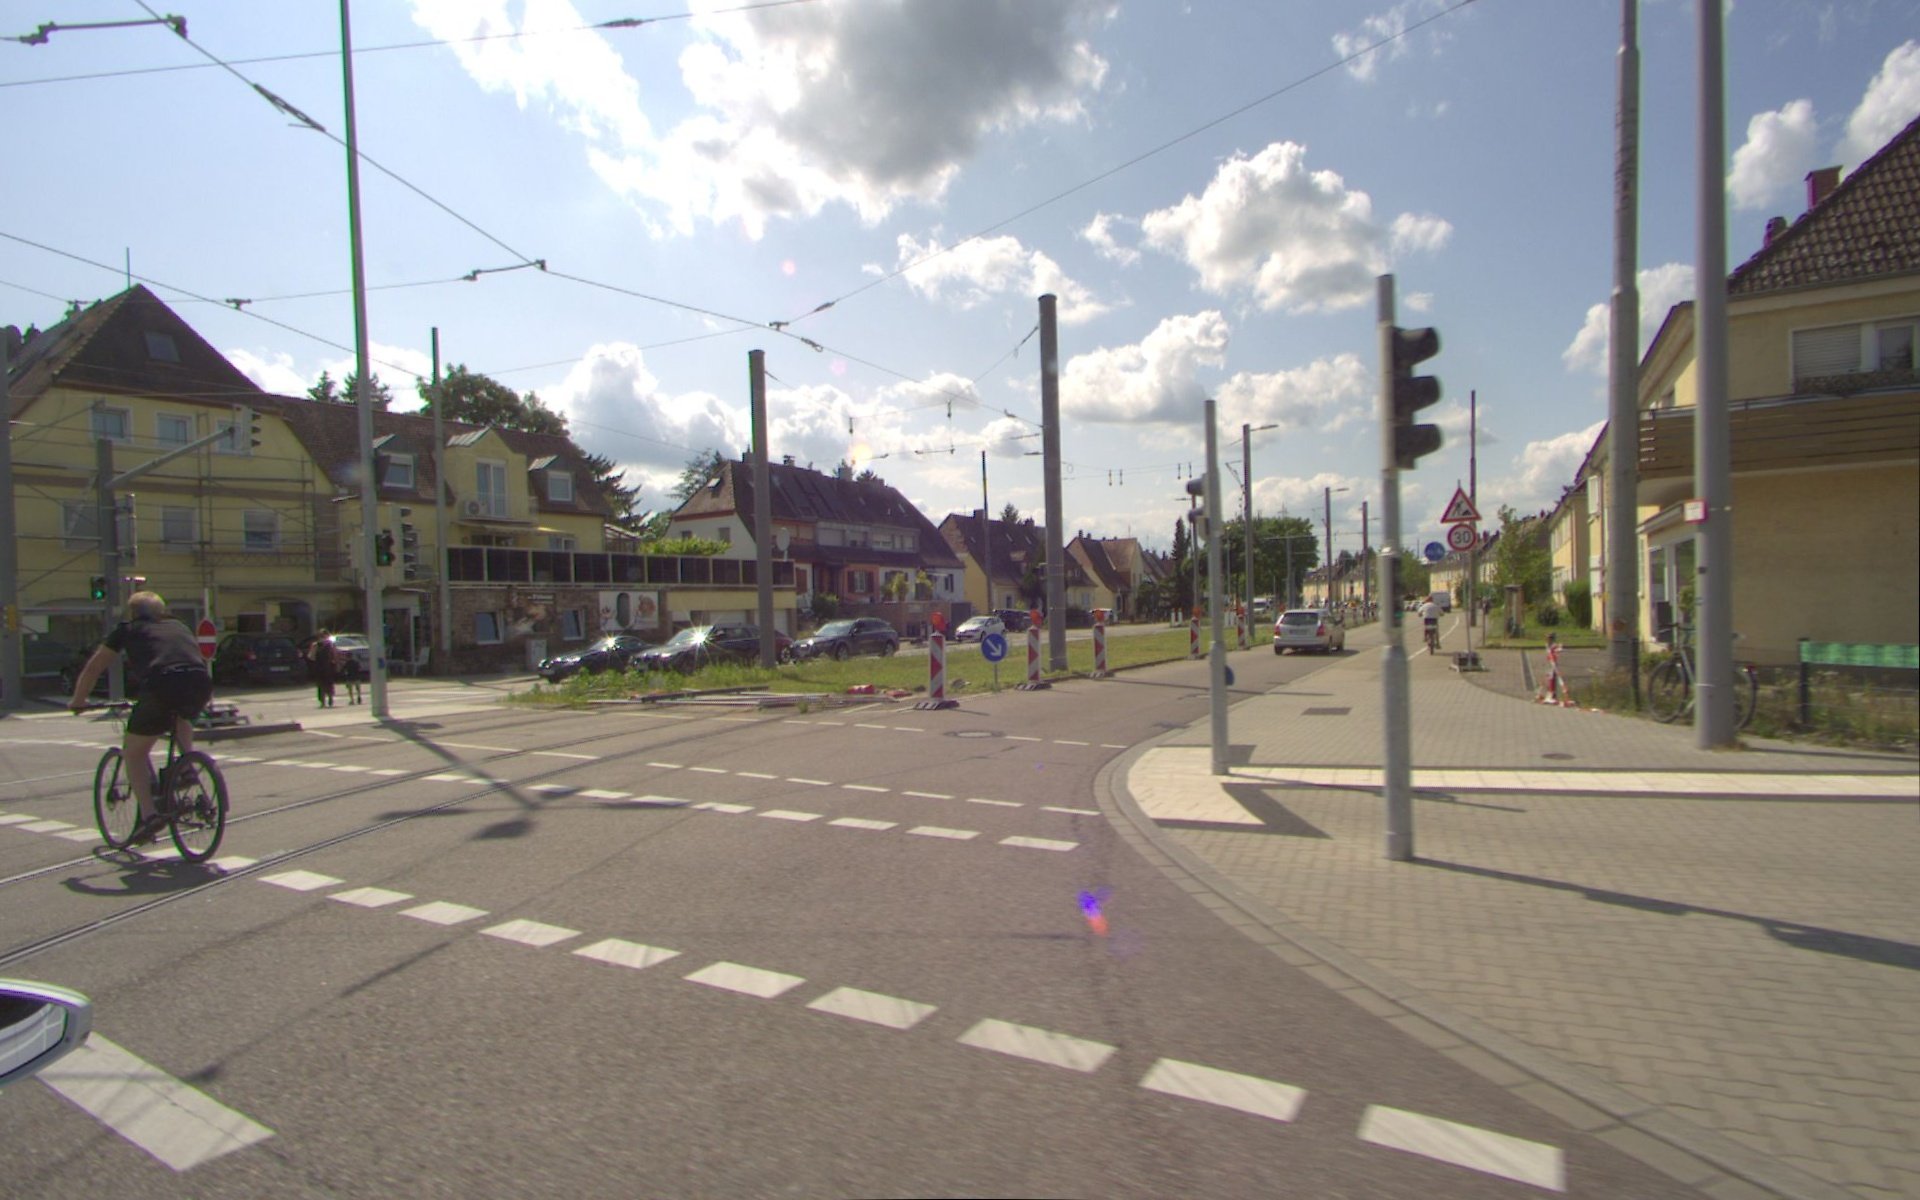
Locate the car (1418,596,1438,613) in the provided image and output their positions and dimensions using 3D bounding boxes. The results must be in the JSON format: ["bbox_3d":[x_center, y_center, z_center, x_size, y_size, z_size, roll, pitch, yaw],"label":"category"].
[{"bbox_3d":[55.781,0.545,119.330,1.967,1.746,3.991,-2,-3,23],"label":"car"}]

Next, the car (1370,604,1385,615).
[{"bbox_3d":[74.184,1.742,177.860,1.964,1.746,3.996,-2,-2,17],"label":"car"}]

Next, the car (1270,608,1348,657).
[{"bbox_3d":[11.138,0.977,31.810,1.709,1.422,3.999,-1,0,29],"label":"car"}]

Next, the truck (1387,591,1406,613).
[{"bbox_3d":[67.638,0.353,155.094,1.964,3.266,5.330,-2,-2,17],"label":"truck"}]

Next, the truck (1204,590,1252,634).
[{"bbox_3d":[25.267,1.214,94.137,2.474,3.873,7.611,-3,-2,29],"label":"truck"}]

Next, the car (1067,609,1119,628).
[{"bbox_3d":[12.003,1.685,90.597,4.259,1.492,1.948,-3,-2,24],"label":"car"}]

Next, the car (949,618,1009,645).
[{"bbox_3d":[1.164,1.886,59.359,1.714,1.492,4.312,-3,-3,29],"label":"car"}]

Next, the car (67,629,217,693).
[{"bbox_3d":[-22.162,1.653,27.104,4.074,1.616,1.990,-3,-3,33],"label":"car"}]

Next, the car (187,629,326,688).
[{"bbox_3d":[-20.815,1.732,29.590,4.074,1.616,1.990,-3,-3,33],"label":"car"}]

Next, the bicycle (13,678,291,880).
[{"bbox_3d":[-5.463,1.119,6.746,1.943,1.090,0.826,-2,1,32],"label":"bicycle"}]

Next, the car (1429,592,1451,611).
[{"bbox_3d":[50.513,0.171,105.368,1.968,1.746,3.988,-3,-3,25],"label":"car"}]

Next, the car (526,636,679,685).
[{"bbox_3d":[-10.736,1.797,30.353,1.714,1.324,4.312,-3,-3,29],"label":"car"}]

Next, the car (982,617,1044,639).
[{"bbox_3d":[3.999,2.102,75.373,4.260,1.492,1.735,-3,-2,25],"label":"car"}]

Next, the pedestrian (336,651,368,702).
[{"bbox_3d":[-13.823,1.734,22.763,0.383,1.150,0.487,-3,-2,33],"label":"pedestrian"}]

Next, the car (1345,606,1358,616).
[{"bbox_3d":[78.815,2.207,201.495,1.964,1.746,3.997,-2,-2,16],"label":"car"}]

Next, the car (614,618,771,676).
[{"bbox_3d":[-7.419,1.275,28.183,1.714,1.346,4.309,-3,0,29],"label":"car"}]

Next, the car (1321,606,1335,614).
[{"bbox_3d":[80.753,2.212,219.992,1.962,1.746,4.001,-2,-2,7],"label":"car"}]

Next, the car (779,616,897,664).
[{"bbox_3d":[-4.027,1.329,33.801,1.714,1.346,4.309,-3,0,29],"label":"car"}]

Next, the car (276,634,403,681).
[{"bbox_3d":[-19.721,1.831,31.794,4.074,1.368,1.864,-3,-3,33],"label":"car"}]

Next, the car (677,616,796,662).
[{"bbox_3d":[-7.884,1.388,35.683,1.714,1.492,4.312,-3,-3,29],"label":"car"}]

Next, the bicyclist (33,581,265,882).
[{"bbox_3d":[-5.419,0.809,6.703,1.068,1.818,0.826,-1,1,31],"label":"bicyclist"}]

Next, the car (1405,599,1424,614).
[{"bbox_3d":[61.723,0.893,136.119,1.965,1.746,3.994,-2,-2,19],"label":"car"}]

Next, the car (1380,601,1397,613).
[{"bbox_3d":[69.590,1.126,162.660,1.964,1.746,3.996,-2,-2,16],"label":"car"}]

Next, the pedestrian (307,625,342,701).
[{"bbox_3d":[-14.139,1.397,22.287,0.396,1.664,0.545,-3,-2,37],"label":"pedestrian"}]

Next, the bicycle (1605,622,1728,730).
[{"bbox_3d":[8.109,0.854,11.560,0.374,1.152,1.575,-2,-2,5],"label":"bicycle"}]

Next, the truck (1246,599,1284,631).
[{"bbox_3d":[35.727,1.801,117.038,2.345,3.582,8.497,-3,-3,29],"label":"truck"}]

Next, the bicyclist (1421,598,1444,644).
[{"bbox_3d":[13.203,0.583,27.968,0.501,1.250,0.576,-2,0,28],"label":"bicyclist"}]

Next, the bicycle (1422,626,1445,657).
[{"bbox_3d":[13.203,1.158,27.910,0.497,0.791,1.578,-2,-1,27],"label":"bicycle"}]
